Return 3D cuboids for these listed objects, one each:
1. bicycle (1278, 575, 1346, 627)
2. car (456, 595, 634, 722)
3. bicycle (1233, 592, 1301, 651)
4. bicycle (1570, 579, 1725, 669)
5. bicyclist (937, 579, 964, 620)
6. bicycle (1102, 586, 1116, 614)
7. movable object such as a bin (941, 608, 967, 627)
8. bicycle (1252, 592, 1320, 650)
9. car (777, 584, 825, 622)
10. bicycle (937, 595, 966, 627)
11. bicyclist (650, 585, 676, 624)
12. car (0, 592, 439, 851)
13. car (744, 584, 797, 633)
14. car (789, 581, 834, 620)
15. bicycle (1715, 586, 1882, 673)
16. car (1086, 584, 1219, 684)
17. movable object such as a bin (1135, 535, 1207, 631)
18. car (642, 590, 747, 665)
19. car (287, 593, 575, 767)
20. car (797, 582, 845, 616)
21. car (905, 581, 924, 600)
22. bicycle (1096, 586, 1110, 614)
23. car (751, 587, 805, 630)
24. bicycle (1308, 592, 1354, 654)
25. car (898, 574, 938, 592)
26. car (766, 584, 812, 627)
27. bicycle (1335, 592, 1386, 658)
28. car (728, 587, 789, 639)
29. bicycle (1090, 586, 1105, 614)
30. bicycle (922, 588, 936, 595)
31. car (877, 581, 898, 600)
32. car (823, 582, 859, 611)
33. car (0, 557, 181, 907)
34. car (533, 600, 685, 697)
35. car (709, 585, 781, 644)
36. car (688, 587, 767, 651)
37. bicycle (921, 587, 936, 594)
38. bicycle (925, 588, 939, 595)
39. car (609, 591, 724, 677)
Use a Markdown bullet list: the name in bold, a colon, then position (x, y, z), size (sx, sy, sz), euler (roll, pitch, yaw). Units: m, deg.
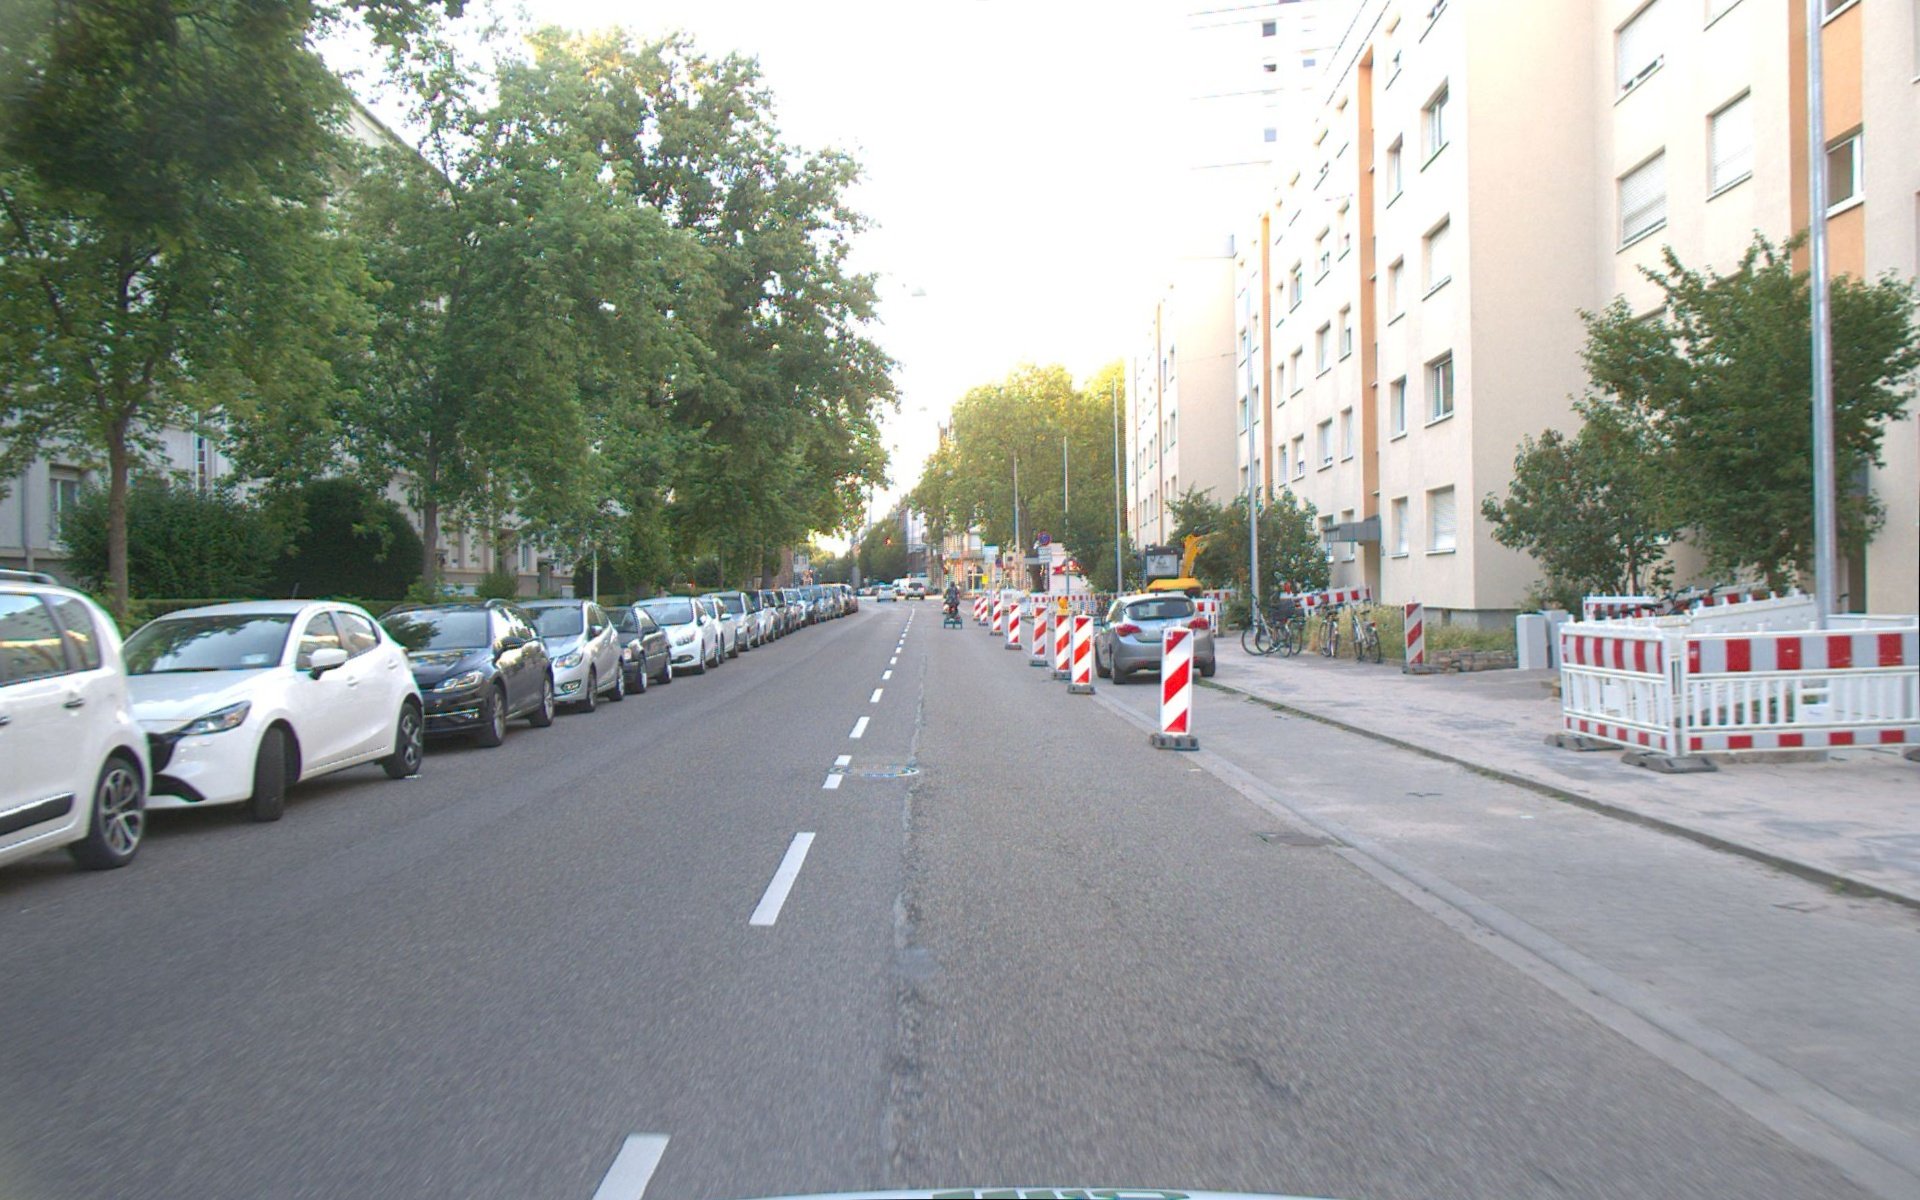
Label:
- **bicycle**: position (8.564, 0.015, 40.275), size (1.562, 1.243, 0.484), euler (0, 0, -8)
- **car**: position (-5.614, 0.729, 22.774), size (1.641, 1.485, 3.702), euler (-4, 0, -4)
- **bicycle**: position (6.413, 0.430, 34.606), size (0.548, 1.192, 1.805), euler (0, 0, -21)
- **bicycle**: position (9.037, 0.316, 21.791), size (1.716, 1.003, 0.558), euler (-6, -1, 8)
- **bicyclist**: position (-0.376, -0.026, 66.639), size (0.921, 1.609, 1.145), euler (-3, 0, -5)
- **bicycle**: position (6.792, -0.003, 75.572), size (0.390, 1.243, 1.825), euler (0, 0, -3)
- **movable object such as a bin**: position (-0.230, 0.676, 65.116), size (0.921, 0.701, 0.992), euler (-3, 0, -5)
- **bicycle**: position (6.909, 0.435, 35.122), size (0.616, 1.192, 1.808), euler (0, 0, -17)
- **car**: position (-6.785, 0.121, 70.779), size (1.673, 1.477, 3.842), euler (-4, 0, -1)
- **bicycle**: position (-0.362, 0.439, 66.790), size (0.921, 1.192, 2.356), euler (-3, 0, -5)
- **bicyclist**: position (-10.876, 0.149, 60.626), size (0.792, 1.428, 0.973), euler (0, 0, -2)
- **car**: position (-5.404, 0.756, 12.287), size (1.717, 1.505, 3.944), euler (-4, 0, 0)
- **car**: position (-6.483, 0.276, 56.835), size (1.493, 1.555, 3.163), euler (-4, 0, -3)
- **car**: position (-6.742, 0.002, 75.198), size (1.673, 1.628, 4.115), euler (-4, 0, -1)
- **bicycle**: position (9.493, 0.349, 18.781), size (0.550, 0.880, 1.599), euler (-5, -1, -29)
- **car**: position (3.373, 0.548, 29.712), size (1.740, 1.516, 4.573), euler (-4, 0, 0)
- **movable object such as a bin**: position (6.194, -0.502, 48.777), size (1.893, 2.740, 2.893), euler (-1, 0, 3)
- **car**: position (-5.910, 0.564, 37.233), size (1.658, 1.485, 4.482), euler (-4, 0, -2)
- **car**: position (-5.497, 0.739, 17.831), size (1.718, 1.505, 4.676), euler (-4, 0, -3)
- **car**: position (-6.692, -0.052, 80.004), size (1.696, 1.523, 4.272), euler (-3, 1, 3)
- **car**: position (-4.544, -0.919, 164.637), size (1.829, 1.846, 3.998), euler (-2, 0, -3)
- **bicycle**: position (6.545, -0.005, 75.633), size (0.390, 1.243, 1.910), euler (0, 0, -3)
- **car**: position (-6.671, 0.295, 60.978), size (1.558, 1.428, 4.180), euler (-4, 0, -1)
- **bicycle**: position (7.414, 0.447, 33.107), size (0.544, 1.192, 1.817), euler (0, 0, 1)
- **car**: position (-5.763, -2.353, 226.894), size (5.780, 2.328, 2.038), euler (-1, 1, -45)
- **car**: position (-6.841, 0.191, 66.382), size (1.559, 1.565, 4.204), euler (-4, 0, -4)
- **bicycle**: position (7.507, 0.453, 31.061), size (0.544, 1.192, 1.817), euler (0, 0, 1)
- **car**: position (-6.355, 0.384, 52.565), size (1.559, 1.492, 4.099), euler (-4, 0, -3)
- **bicycle**: position (6.278, -0.008, 75.535), size (0.442, 1.243, 1.910), euler (0, 0, -3)
- **bicycle**: position (-4.187, -1.123, 220.704), size (1.876, 0.985, 0.545), euler (-1, 0, -3)
- **car**: position (-6.517, -0.820, 148.370), size (1.829, 1.613, 3.998), euler (-2, 0, -3)
- **car**: position (-7.196, -0.244, 100.548), size (1.914, 1.645, 4.603), euler (-3, 1, -2)
- **car**: position (-5.437, 0.682, 7.715), size (1.718, 1.660, 4.105), euler (-4, 0, -3)
- **car**: position (-5.735, 0.739, 27.529), size (1.641, 1.355, 4.578), euler (-4, 0, -2)
- **car**: position (-6.209, 0.401, 47.983), size (1.557, 1.555, 2.921), euler (-4, 0, 1)
- **car**: position (-6.119, 0.464, 43.807), size (1.558, 1.531, 3.798), euler (-4, 0, -2)
- **bicycle**: position (-4.214, -1.240, 220.578), size (1.876, 0.985, 0.545), euler (-1, 0, -3)
- **bicycle**: position (-3.747, -1.117, 221.505), size (1.874, 0.985, 0.546), euler (0, 0, 13)
- **car**: position (-5.726, 0.611, 32.667), size (1.659, 1.485, 4.142), euler (-4, 0, -3)
